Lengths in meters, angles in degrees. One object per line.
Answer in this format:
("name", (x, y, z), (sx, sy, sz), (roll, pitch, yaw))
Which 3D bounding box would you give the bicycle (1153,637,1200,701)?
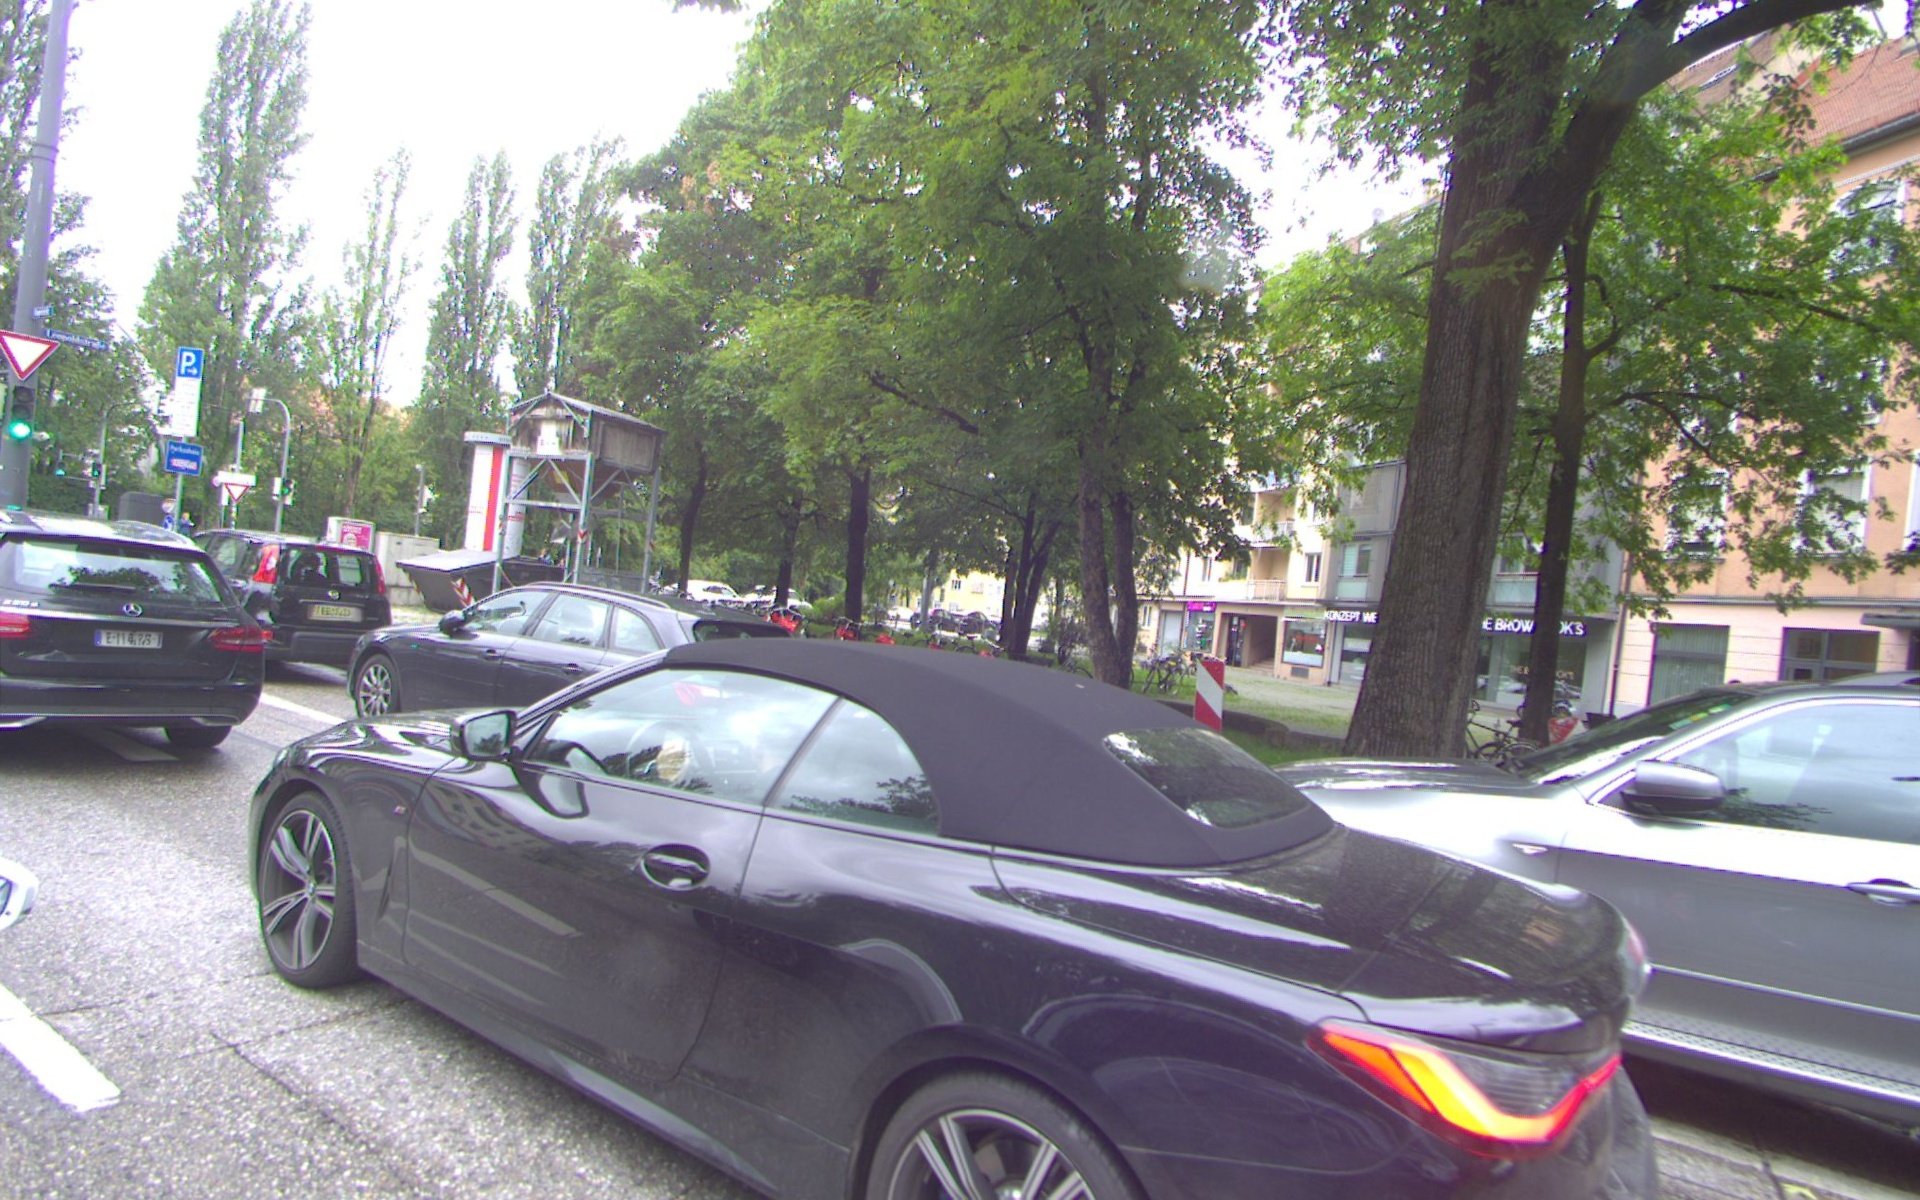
("bicycle", (5.571, 1.750, 26.015), (0.619, 1.374, 2.467), (7, 1, 2))

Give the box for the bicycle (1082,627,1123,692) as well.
("bicycle", (3.522, 1.453, 25.062), (0.619, 1.374, 2.467), (7, 1, 2))

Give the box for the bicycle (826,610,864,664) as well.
("bicycle", (-2.089, 0.669, 18.372), (0.307, 0.905, 1.413), (7, -1, 6))

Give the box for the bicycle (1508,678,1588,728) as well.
("bicycle", (18.500, 3.221, 31.698), (0.500, 1.304, 2.239), (7, -2, -22))

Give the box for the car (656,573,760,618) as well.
("car", (-10.493, -0.153, 42.229), (1.700, 1.424, 4.370), (7, 0, 27))

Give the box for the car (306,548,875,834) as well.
("car", (-3.143, 0.579, 8.263), (4.563, 1.479, 1.770), (7, 0, 30))

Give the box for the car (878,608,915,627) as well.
("car", (-6.318, 1.771, 100.954), (1.755, 1.504, 4.134), (6, -1, 27))

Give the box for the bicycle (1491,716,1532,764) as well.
("bicycle", (9.087, 2.307, 16.565), (0.314, 0.732, 1.174), (6, -2, 40))

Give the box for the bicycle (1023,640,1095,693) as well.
("bicycle", (1.968, 1.325, 20.183), (1.391, 0.904, 0.312), (5, -2, 38))

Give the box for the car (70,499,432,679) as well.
("car", (-8.395, -0.169, 11.793), (4.480, 1.568, 1.832), (7, 0, 33))

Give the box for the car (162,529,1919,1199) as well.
("car", (-0.459, 0.725, 3.216), (4.719, 1.406, 1.726), (7, 0, 32))

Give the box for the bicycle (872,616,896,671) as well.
("bicycle", (-1.358, 0.768, 17.848), (0.308, 0.904, 1.412), (7, -2, -5))

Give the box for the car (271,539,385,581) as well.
("car", (-31.090, -1.953, 49.622), (1.756, 1.504, 4.345), (6, -1, 30))

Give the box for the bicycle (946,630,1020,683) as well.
("bicycle", (0.471, 1.136, 20.171), (1.395, 0.904, 0.311), (8, -2, -25))

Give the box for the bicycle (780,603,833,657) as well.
("bicycle", (-2.860, 0.578, 18.831), (0.307, 0.904, 1.414), (6, -2, 17))

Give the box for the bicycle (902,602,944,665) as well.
("bicycle", (-0.873, 0.768, 24.214), (0.619, 1.374, 2.469), (7, 1, 3))

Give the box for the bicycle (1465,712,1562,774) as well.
("bicycle", (8.215, 2.110, 14.943), (1.163, 0.732, 0.317), (5, -2, 43))

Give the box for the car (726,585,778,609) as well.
("car", (-16.496, -0.236, 79.923), (1.755, 1.504, 4.134), (6, -1, 27))

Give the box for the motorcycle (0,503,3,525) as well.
("motorcycle", (-37.317, -3.189, 38.236), (1.994, 1.183, 0.630), (6, -1, 27))

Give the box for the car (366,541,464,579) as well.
("car", (-29.274, -2.144, 54.151), (1.756, 1.504, 4.251), (6, -1, 30))

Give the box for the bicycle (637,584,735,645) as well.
("bicycle", (-5.532, 0.321, 20.481), (0.619, 1.028, 2.241), (6, -2, 21))

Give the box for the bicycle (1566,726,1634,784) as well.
("bicycle", (9.170, 2.225, 14.402), (1.167, 0.732, 0.316), (8, -2, -33))

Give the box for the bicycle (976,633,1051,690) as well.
("bicycle", (0.993, 1.151, 18.986), (1.391, 0.904, 0.312), (5, -2, 38))

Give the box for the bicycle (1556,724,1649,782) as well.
("bicycle", (10.213, 2.425, 16.015), (0.316, 0.732, 1.167), (8, -2, -36))

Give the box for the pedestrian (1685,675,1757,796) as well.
("pedestrian", (12.854, 2.280, 16.996), (0.622, 1.924, 0.626), (7, -1, -31))

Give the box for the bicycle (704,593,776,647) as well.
("bicycle", (-4.236, 0.401, 19.436), (0.308, 0.904, 1.408), (6, -2, 38))

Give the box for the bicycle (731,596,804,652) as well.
("bicycle", (-3.619, 0.458, 18.965), (0.308, 0.904, 1.408), (6, -2, 38))

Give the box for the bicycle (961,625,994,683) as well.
("bicycle", (0.285, 0.889, 16.936), (0.308, 0.904, 1.412), (7, -2, -5))

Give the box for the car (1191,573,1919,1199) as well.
("car", (3.485, 1.092, 4.074), (4.475, 1.842, 1.935), (7, 0, 28))

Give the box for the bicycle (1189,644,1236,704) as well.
("bicycle", (6.954, 2.001, 27.826), (0.619, 1.374, 2.467), (7, 1, 2))

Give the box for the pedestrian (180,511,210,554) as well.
("pedestrian", (-31.815, -2.805, 41.827), (0.692, 1.682, 0.550), (7, -1, -18))

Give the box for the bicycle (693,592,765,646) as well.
("bicycle", (-4.502, 0.376, 19.649), (0.308, 0.904, 1.408), (6, -2, 38))

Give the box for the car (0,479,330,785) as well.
("car", (-6.565, 0.011, 6.887), (4.626, 1.567, 1.867), (7, -2, 32))

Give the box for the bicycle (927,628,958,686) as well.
("bicycle", (-0.309, 0.933, 16.902), (0.308, 0.904, 1.412), (7, -2, -5))

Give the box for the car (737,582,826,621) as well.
("car", (-8.275, 0.092, 47.027), (1.700, 1.424, 4.370), (7, 0, 27))

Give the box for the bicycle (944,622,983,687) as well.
("bicycle", (0.105, 1.262, 23.576), (0.619, 1.372, 2.471), (7, -2, 3))

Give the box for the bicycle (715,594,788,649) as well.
("bicycle", (-3.969, 0.424, 19.206), (0.308, 0.904, 1.408), (6, -2, 38))
